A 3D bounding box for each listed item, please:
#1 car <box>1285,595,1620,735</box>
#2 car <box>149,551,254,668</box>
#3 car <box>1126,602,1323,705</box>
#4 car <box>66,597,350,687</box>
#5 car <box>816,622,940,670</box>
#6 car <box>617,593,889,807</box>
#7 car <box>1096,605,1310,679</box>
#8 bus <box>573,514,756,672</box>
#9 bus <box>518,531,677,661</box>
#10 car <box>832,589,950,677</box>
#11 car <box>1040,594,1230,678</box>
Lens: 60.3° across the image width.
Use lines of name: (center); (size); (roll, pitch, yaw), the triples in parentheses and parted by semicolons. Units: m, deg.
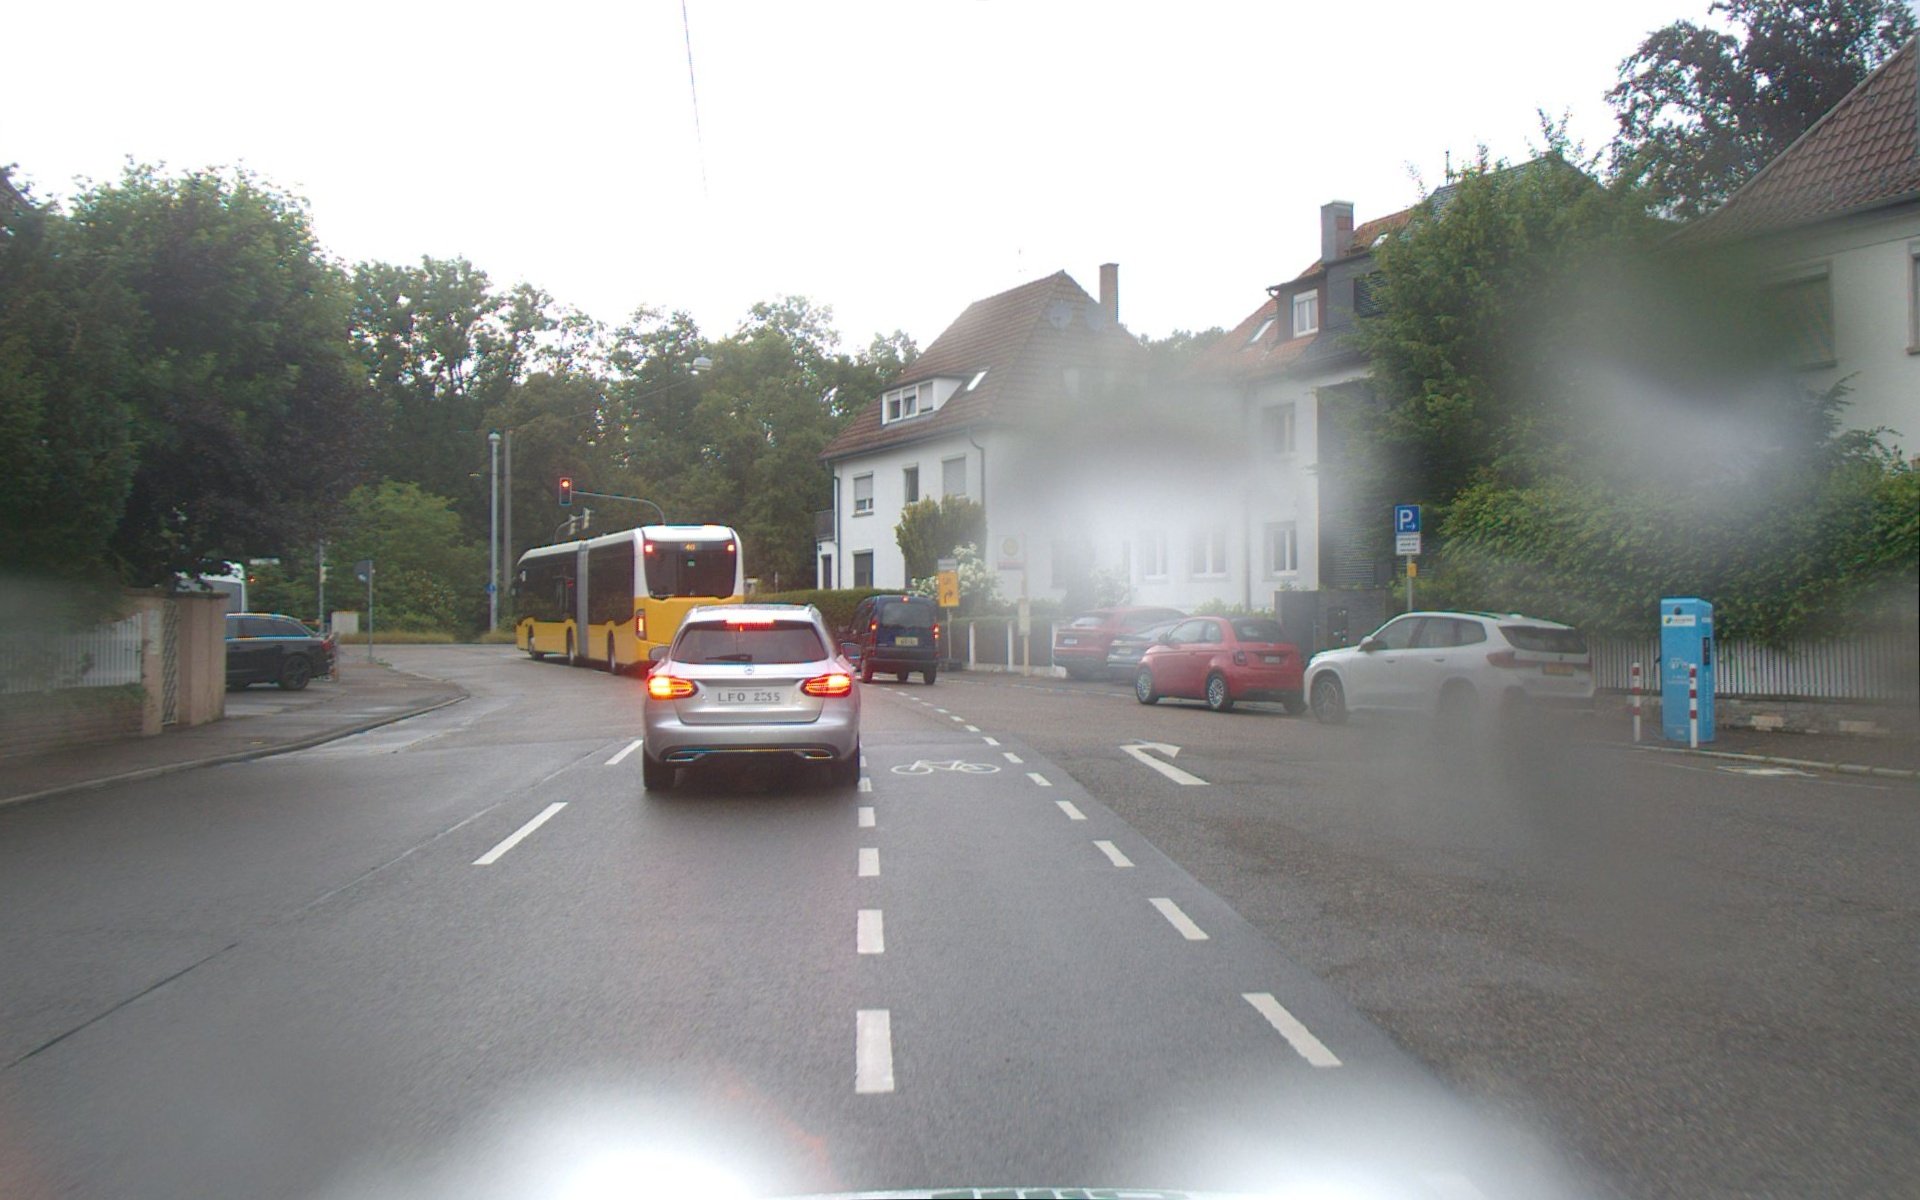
car: (6.575, 0.813, 22.638); (1.723, 1.702, 4.608); (2, -1, -26)
car: (-17.510, 0.229, 38.364); (1.966, 2.491, 5.455); (1, -1, -23)
car: (4.319, 0.850, 27.446); (1.590, 1.564, 3.515); (2, -1, -23)
car: (-13.985, 0.777, 31.053); (1.764, 1.521, 4.674); (2, 0, 30)
car: (-2.636, 1.466, 53.349); (3.699, 1.412, 1.602); (0, 2, -27)
car: (-1.756, 0.712, 14.267); (1.955, 1.505, 4.479); (0, 1, -7)
car: (5.391, 0.880, 36.516); (4.503, 1.441, 1.978); (-1, 1, -32)
bus: (-7.472, -0.152, 40.751); (2.640, 3.458, 8.619); (0, 0, -23)
bus: (-10.889, -0.115, 48.938); (2.862, 3.458, 8.972); (0, 0, -24)
car: (-1.585, 0.732, 36.582); (1.779, 1.829, 3.983); (0, -1, -15)
car: (4.071, 0.787, 38.382); (4.033, 1.781, 1.979); (-1, 1, -32)
